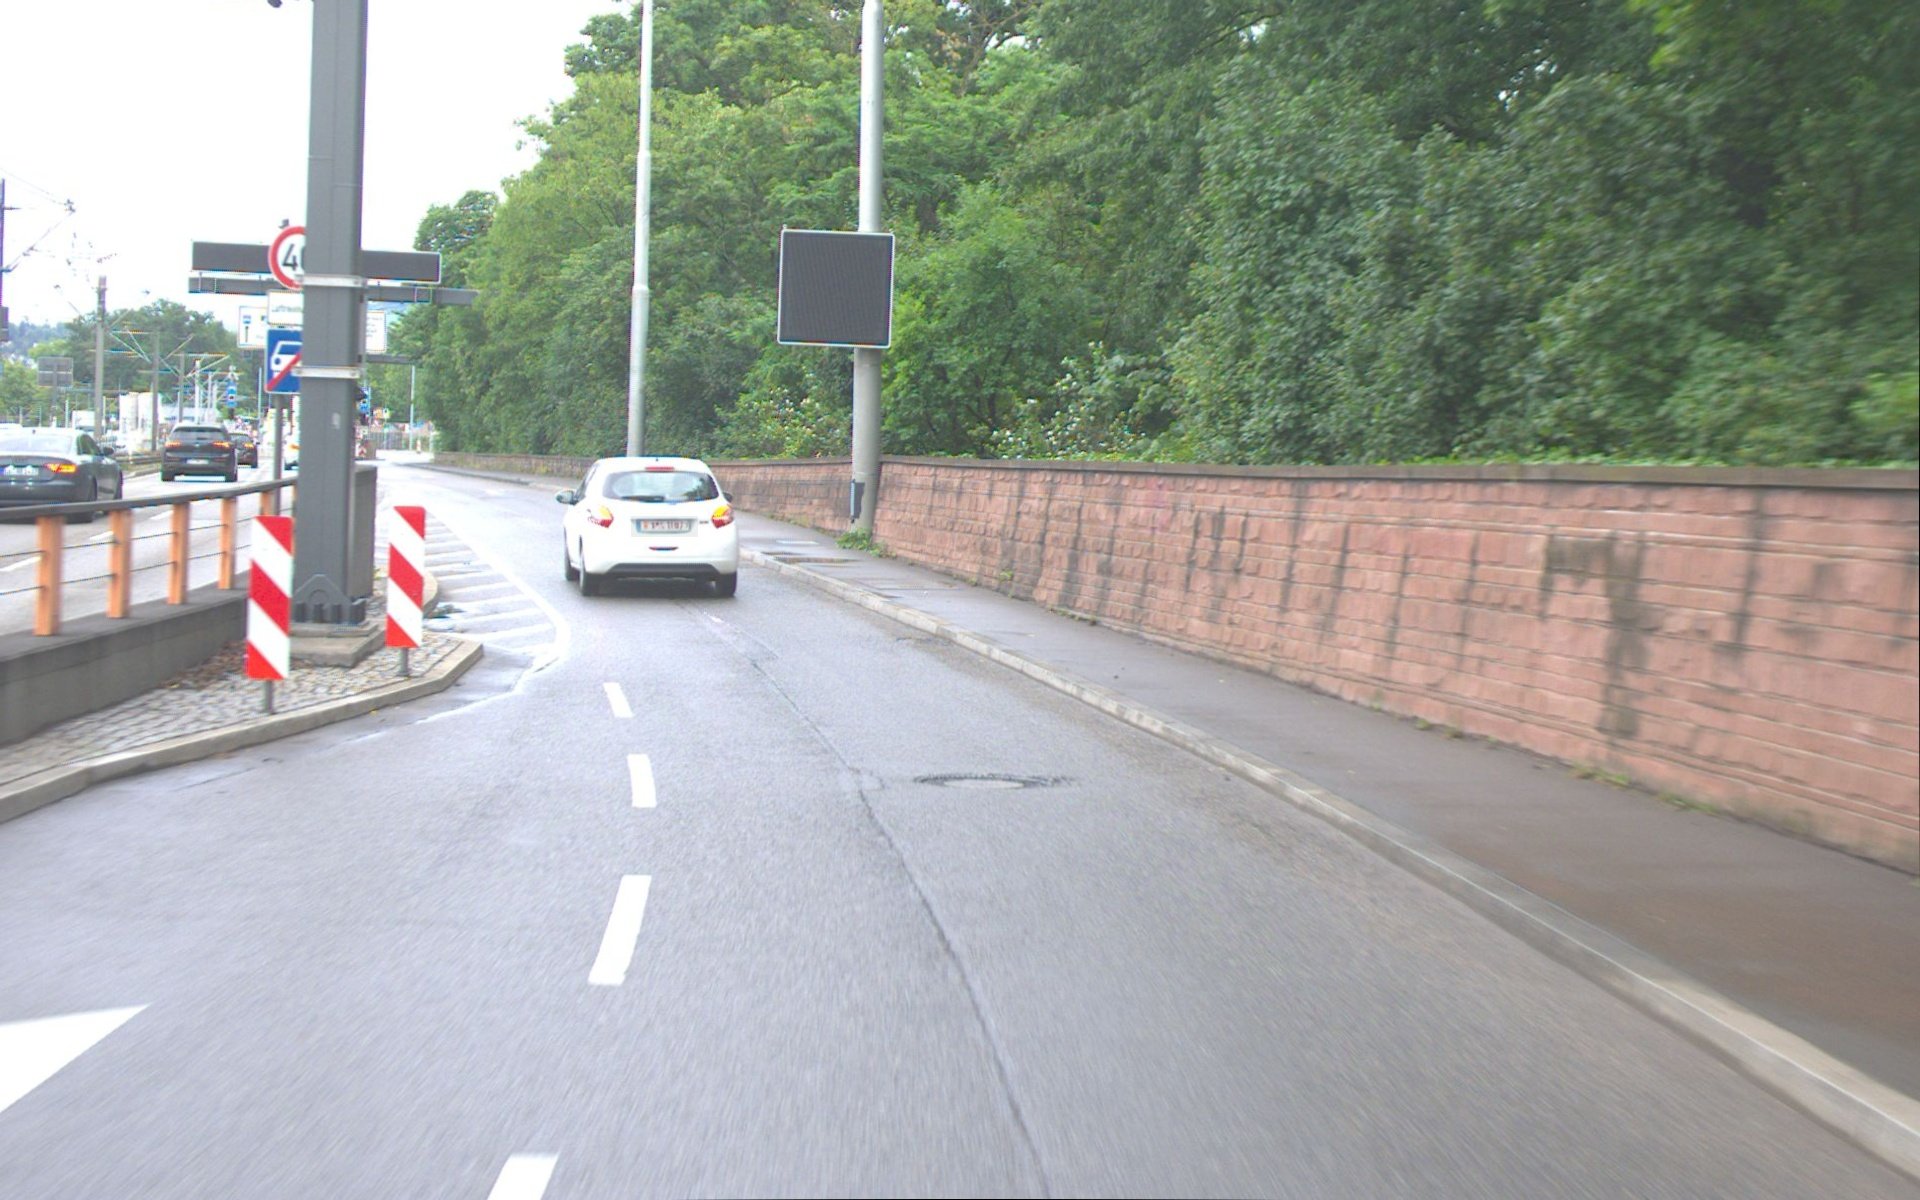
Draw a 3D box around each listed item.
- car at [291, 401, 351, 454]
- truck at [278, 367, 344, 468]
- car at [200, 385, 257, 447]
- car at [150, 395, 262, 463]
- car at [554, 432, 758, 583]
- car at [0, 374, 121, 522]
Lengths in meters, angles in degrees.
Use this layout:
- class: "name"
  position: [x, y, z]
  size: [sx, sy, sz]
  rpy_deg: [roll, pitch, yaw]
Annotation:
- class: "car"
  position: [-23.386, -6.301, 125.831]
  size: [2.081, 1.866, 4.097]
  rpy_deg: [1, 2, -10]
- class: "truck"
  position: [-40.125, -11.207, 212.761]
  size: [3.464, 5.382, 12.054]
  rpy_deg: [3, -1, -9]
- class: "car"
  position: [-27.707, -6.951, 130.286]
  size: [1.993, 2.007, 4.001]
  rpy_deg: [3, -1, -11]
- class: "car"
  position: [-18.404, -4.171, 84.042]
  size: [1.993, 1.570, 4.001]
  rpy_deg: [1, 3, -2]
- class: "car"
  position: [-3.434, -0.984, 38.252]
  size: [1.955, 1.483, 4.001]
  rpy_deg: [3, -1, -9]
- class: "car"
  position: [-13.550, -2.270, 50.598]
  size: [1.721, 1.884, 3.537]
  rpy_deg: [2, 6, -4]
